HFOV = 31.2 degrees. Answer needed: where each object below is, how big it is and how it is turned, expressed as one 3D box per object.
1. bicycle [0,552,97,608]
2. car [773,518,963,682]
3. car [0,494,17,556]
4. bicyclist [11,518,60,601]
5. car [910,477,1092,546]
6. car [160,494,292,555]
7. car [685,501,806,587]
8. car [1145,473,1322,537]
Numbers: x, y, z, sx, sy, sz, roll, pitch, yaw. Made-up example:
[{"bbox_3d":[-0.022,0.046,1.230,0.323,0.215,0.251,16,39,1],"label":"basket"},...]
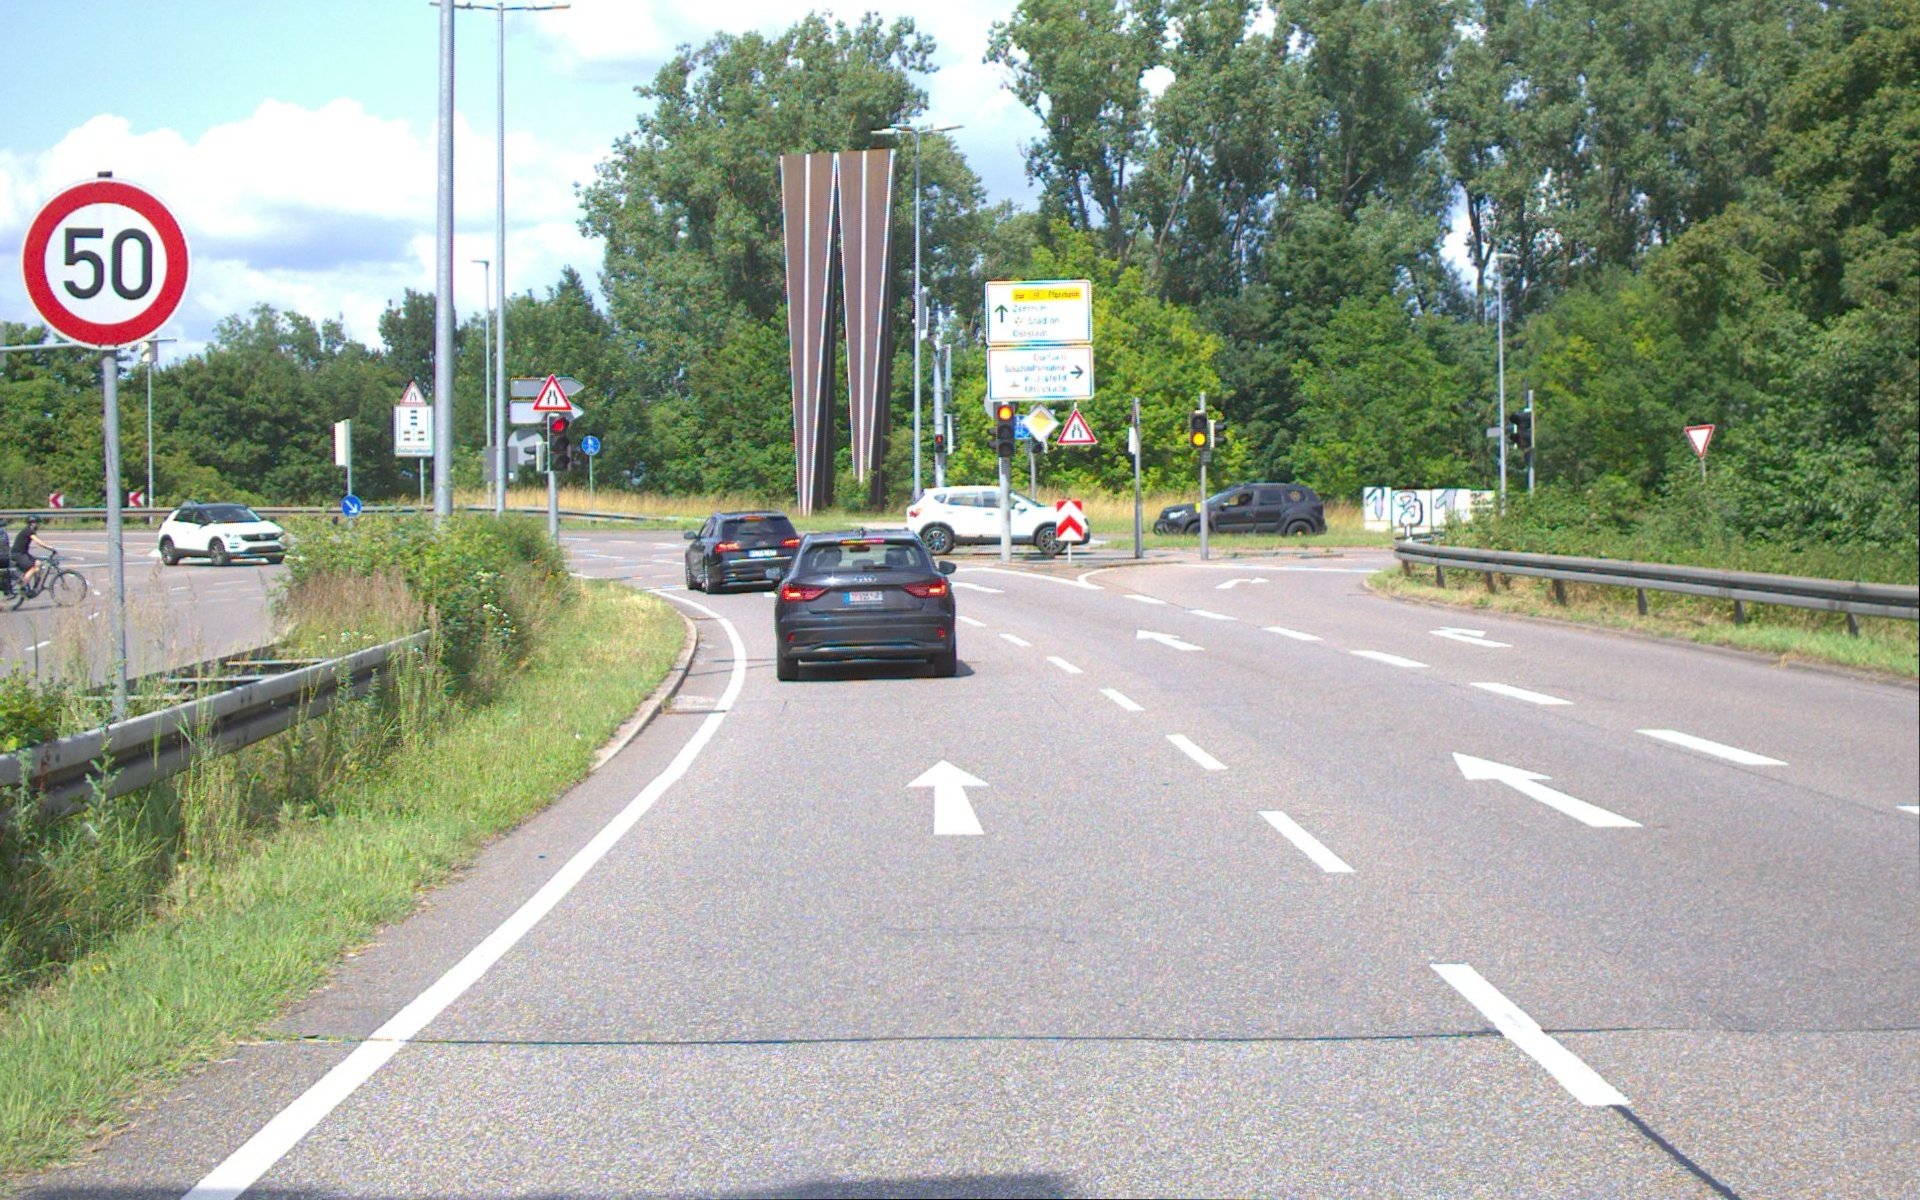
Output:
[{"bbox_3d":[-17.632,-0.393,65.875,2.052,1.020,0.672,-2,2,-19],"label":"bicycle"},{"bbox_3d":[-0.957,-0.049,33.872,1.726,1.399,4.001,-2,2,-3],"label":"car"},{"bbox_3d":[-26.484,-1.950,91.533,1.838,1.612,4.001,-3,1,-26],"label":"car"},{"bbox_3d":[-17.712,-0.779,65.841,0.834,1.555,0.672,-2,2,-19],"label":"bicyclist"},{"bbox_3d":[0.977,-2.047,79.836,4.025,1.504,1.956,1,0,7],"label":"car"},{"bbox_3d":[-18.612,-1.924,87.032,1.732,1.471,4.046,0,2,-37],"label":"car"},{"bbox_3d":[-3.966,-1.053,63.175,1.726,1.418,3.846,-4,3,-10],"label":"car"},{"bbox_3d":[7.060,-2.468,88.957,4.267,1.539,1.737,-2,2,-7],"label":"car"}]
